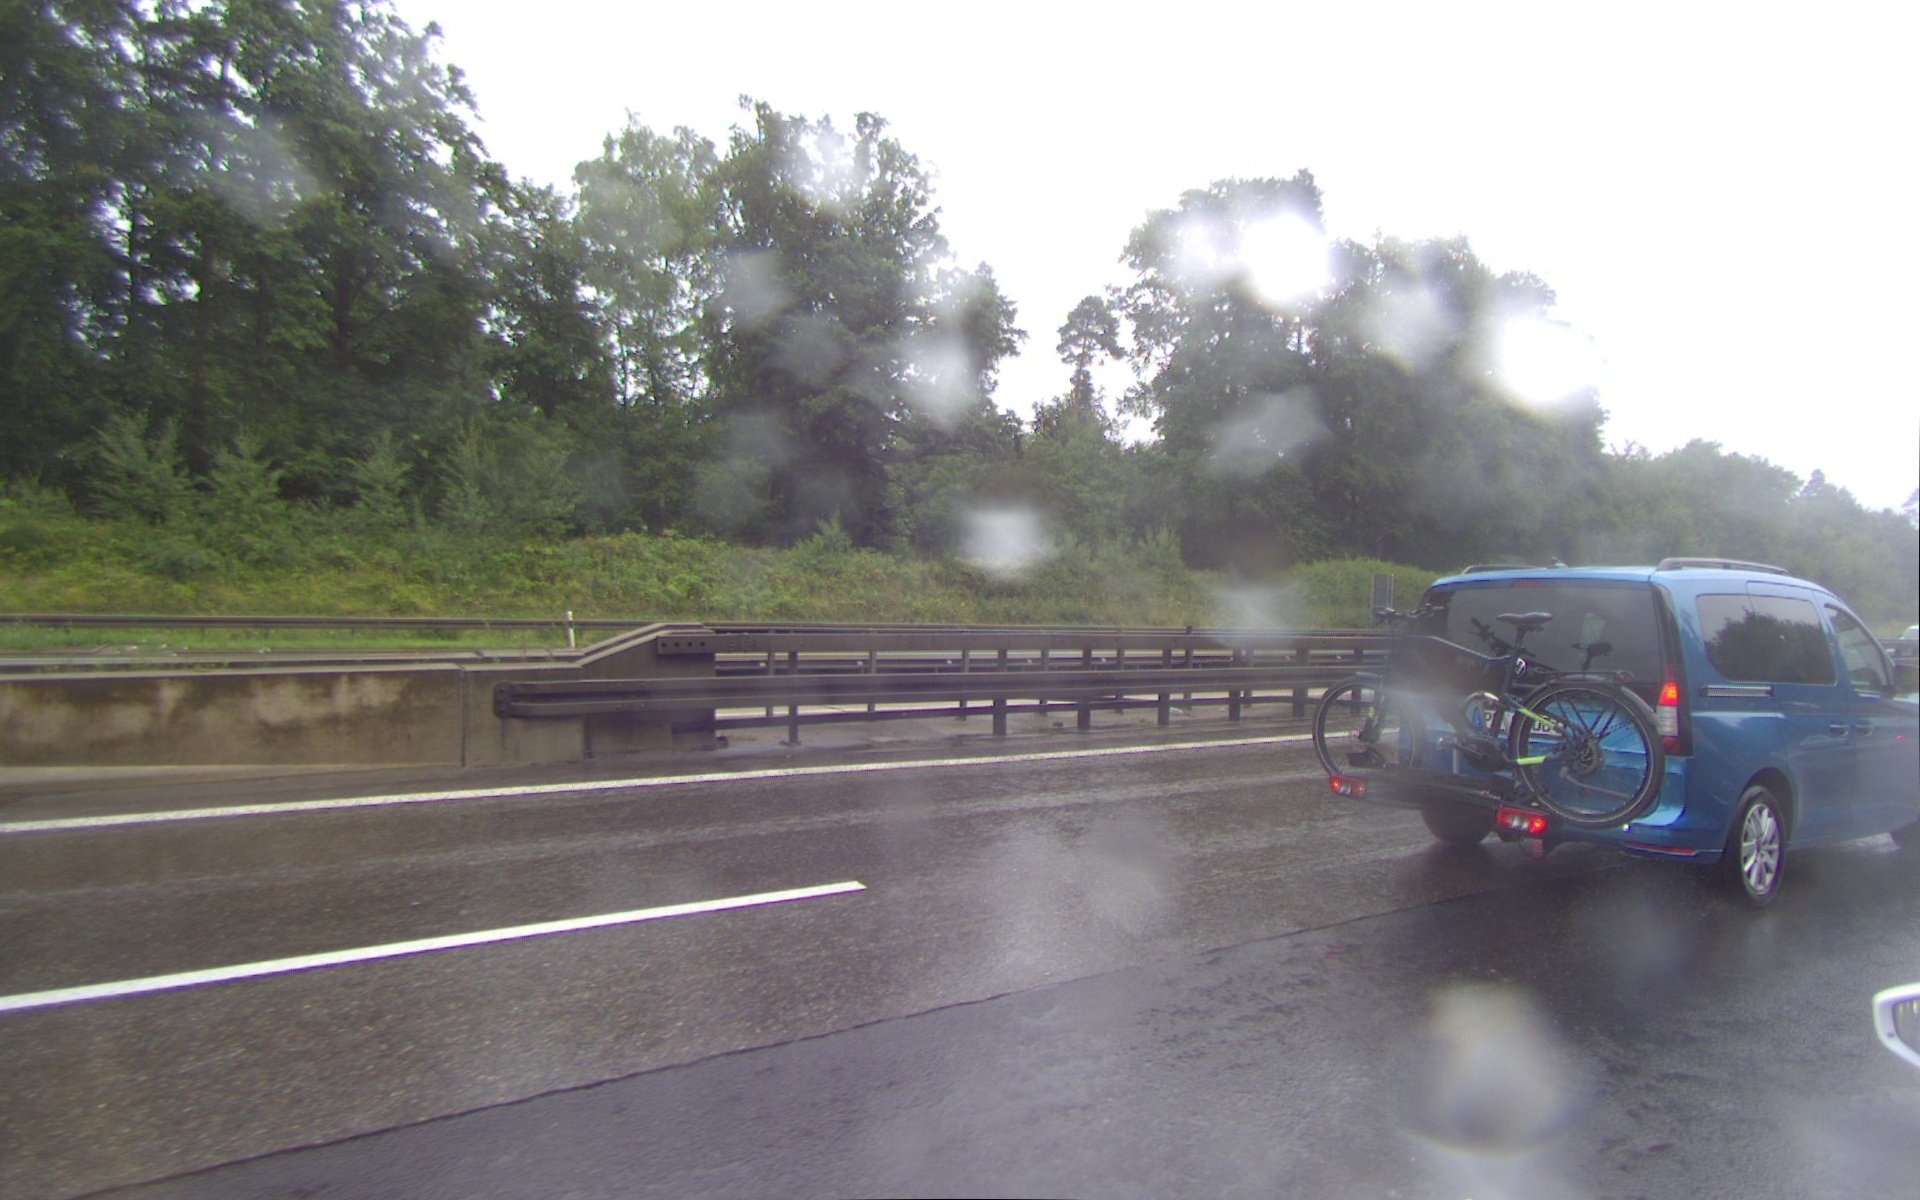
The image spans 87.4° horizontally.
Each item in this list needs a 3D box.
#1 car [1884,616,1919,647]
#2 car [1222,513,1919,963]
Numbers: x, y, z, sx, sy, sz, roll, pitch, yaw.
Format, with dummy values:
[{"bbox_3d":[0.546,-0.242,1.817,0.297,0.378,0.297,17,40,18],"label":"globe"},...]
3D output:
[{"bbox_3d":[52.202,1.699,54.578,3.952,1.617,1.852,1,0,-30],"label":"car"},{"bbox_3d":[4.360,0.635,6.525,4.954,1.937,2.260,1,0,-29],"label":"car"}]
